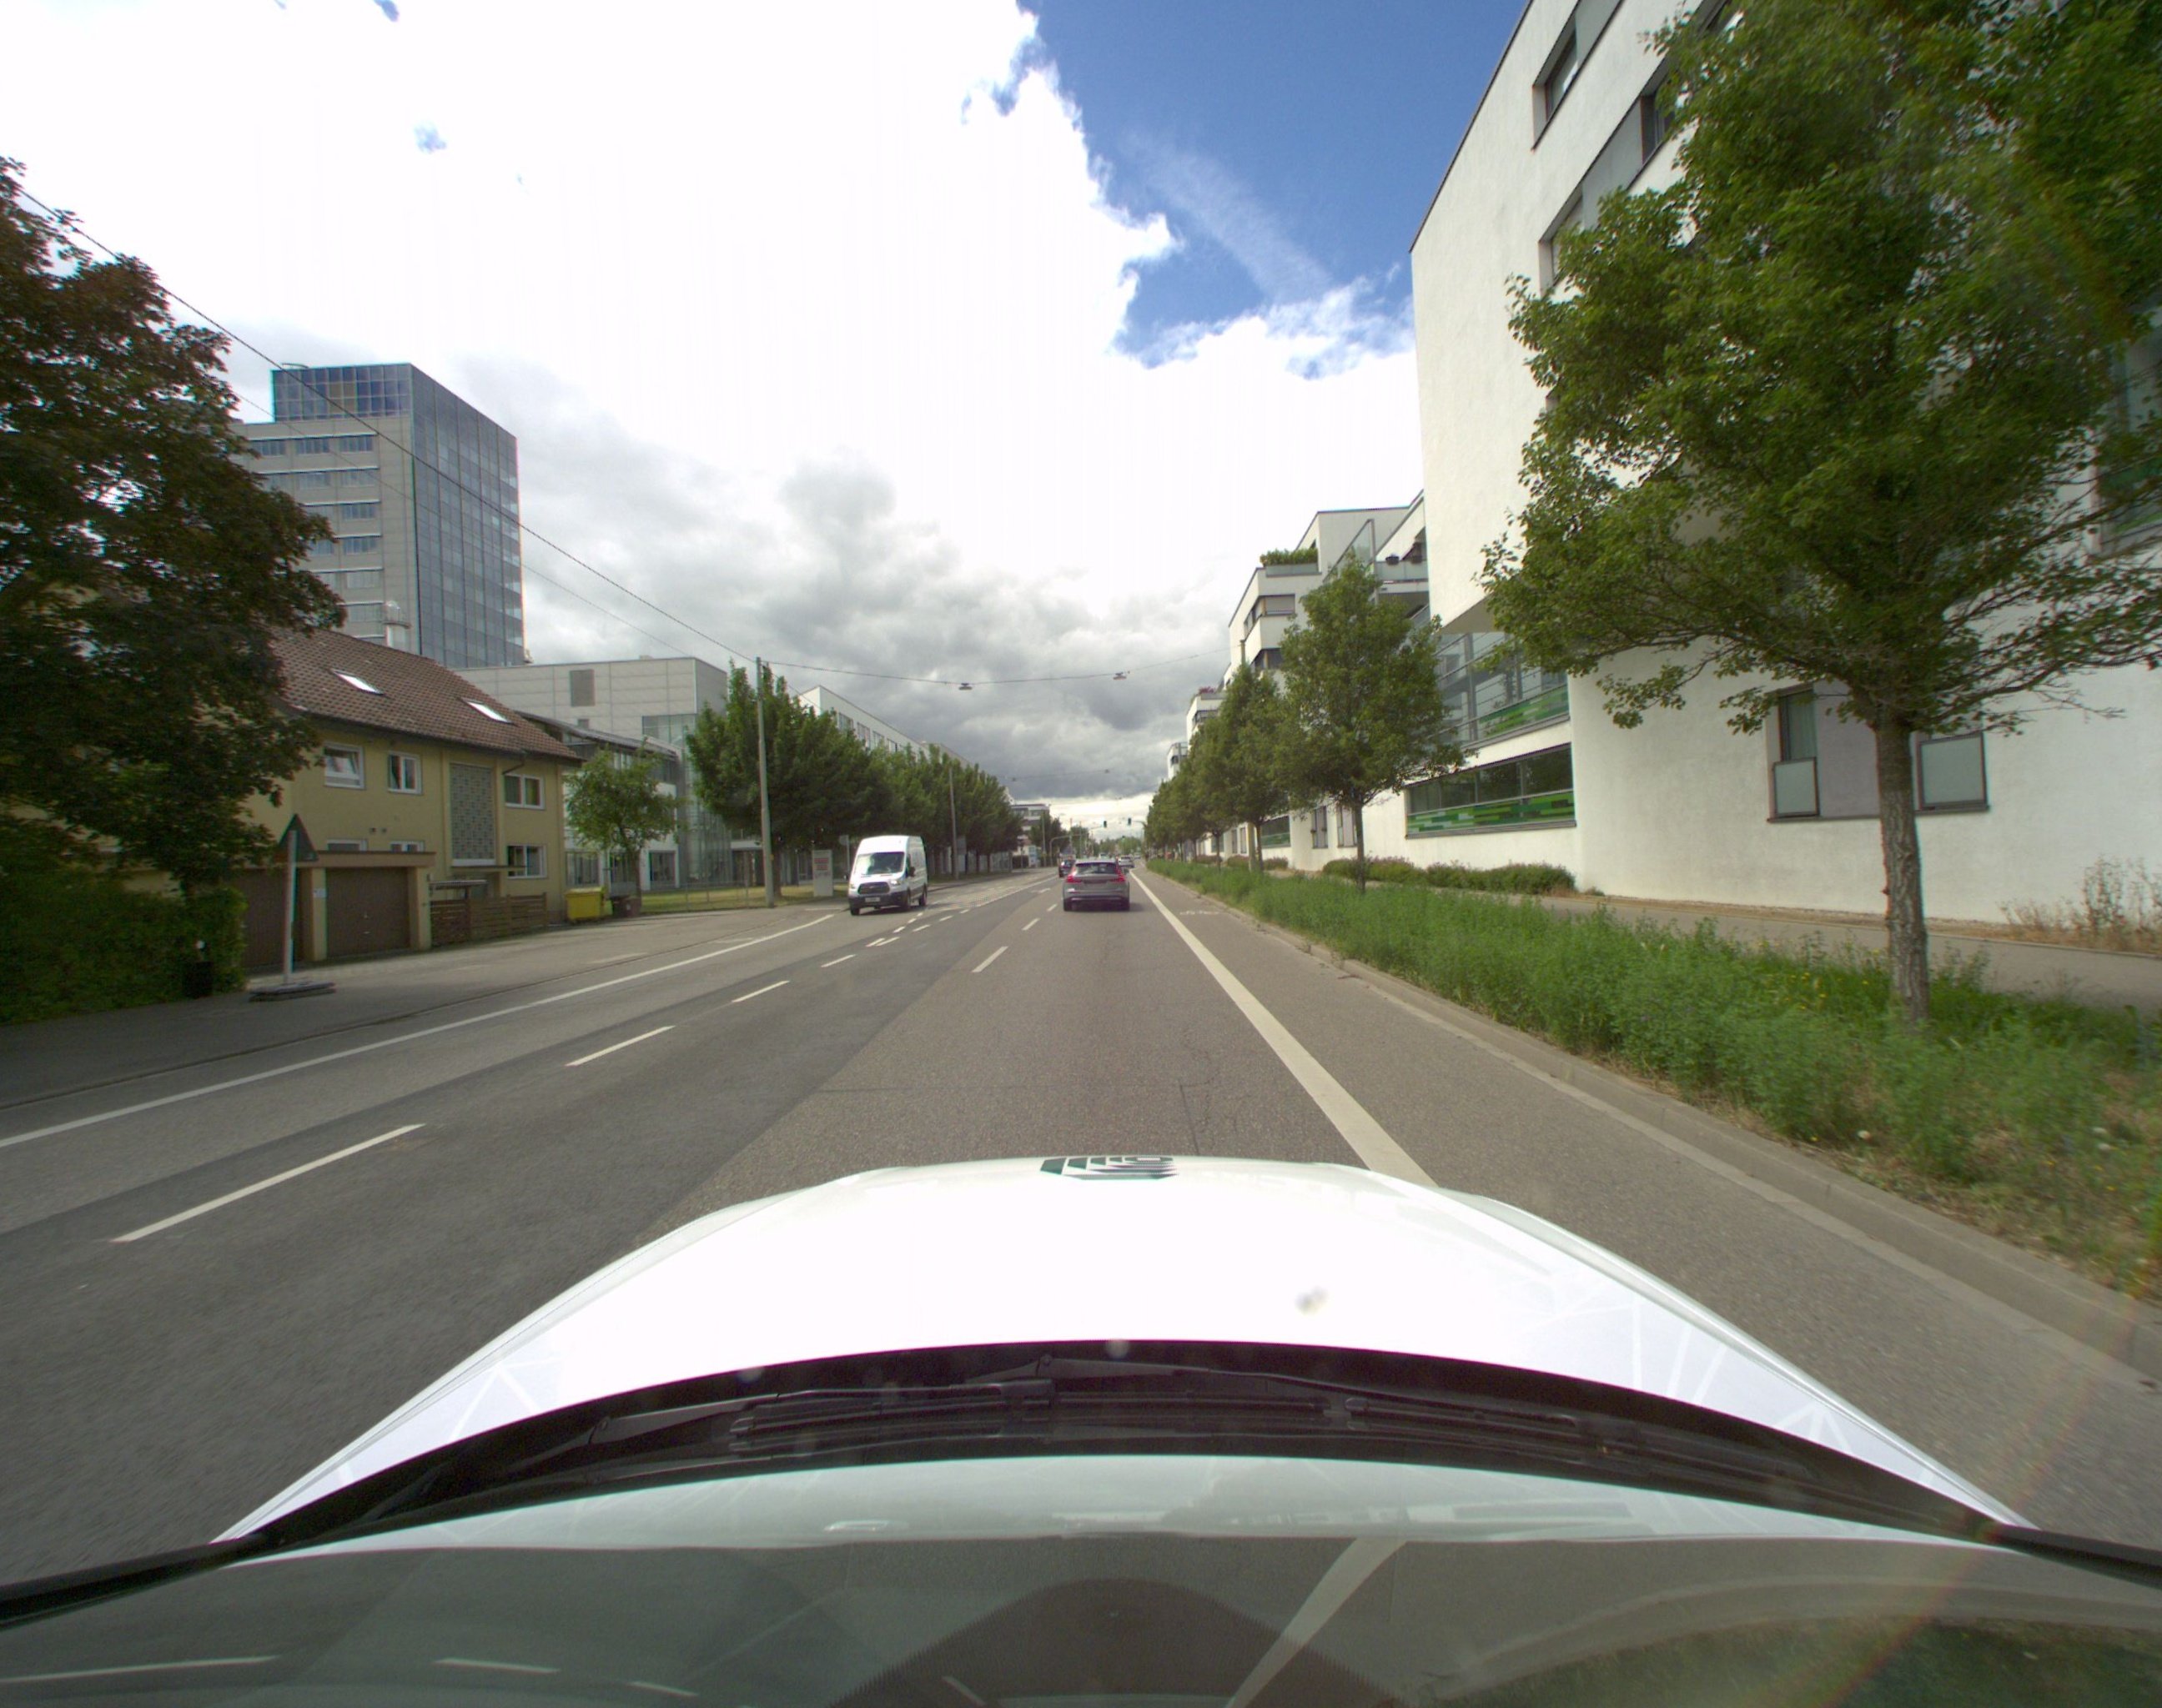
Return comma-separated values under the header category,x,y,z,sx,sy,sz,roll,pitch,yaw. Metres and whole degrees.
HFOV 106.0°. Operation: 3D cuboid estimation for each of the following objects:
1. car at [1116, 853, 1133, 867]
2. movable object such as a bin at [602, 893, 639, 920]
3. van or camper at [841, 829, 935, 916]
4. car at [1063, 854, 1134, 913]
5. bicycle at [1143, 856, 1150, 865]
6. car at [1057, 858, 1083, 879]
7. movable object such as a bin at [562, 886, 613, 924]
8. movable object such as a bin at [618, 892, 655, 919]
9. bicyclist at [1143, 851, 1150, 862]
category,x,y,z,sx,sy,sz,roll,pitch,yaw
car,5.132,0.717,96.544,1.838,1.513,4.001,-2,0,1
movable object such as a bin,-18.198,2.060,32.202,0.742,0.941,1.001,-4,0,9
van or camper,-6.880,0.607,29.763,1.988,2.734,6.047,-4,0,-2
car,0.510,0.797,23.880,1.848,1.513,4.001,-2,0,1
bicycle,12.196,1.206,150.764,1.063,1.453,2.978,-4,0,2
car,-0.852,1.128,64.836,1.847,1.513,4.001,-2,0,1
movable object such as a bin,-19.579,2.010,32.359,1.410,1.330,1.414,-4,0,-20
movable object such as a bin,-17.447,2.005,31.986,0.742,0.941,1.001,-4,0,9
bicyclist,12.148,0.456,150.694,1.010,2.013,1.132,-4,0,1
